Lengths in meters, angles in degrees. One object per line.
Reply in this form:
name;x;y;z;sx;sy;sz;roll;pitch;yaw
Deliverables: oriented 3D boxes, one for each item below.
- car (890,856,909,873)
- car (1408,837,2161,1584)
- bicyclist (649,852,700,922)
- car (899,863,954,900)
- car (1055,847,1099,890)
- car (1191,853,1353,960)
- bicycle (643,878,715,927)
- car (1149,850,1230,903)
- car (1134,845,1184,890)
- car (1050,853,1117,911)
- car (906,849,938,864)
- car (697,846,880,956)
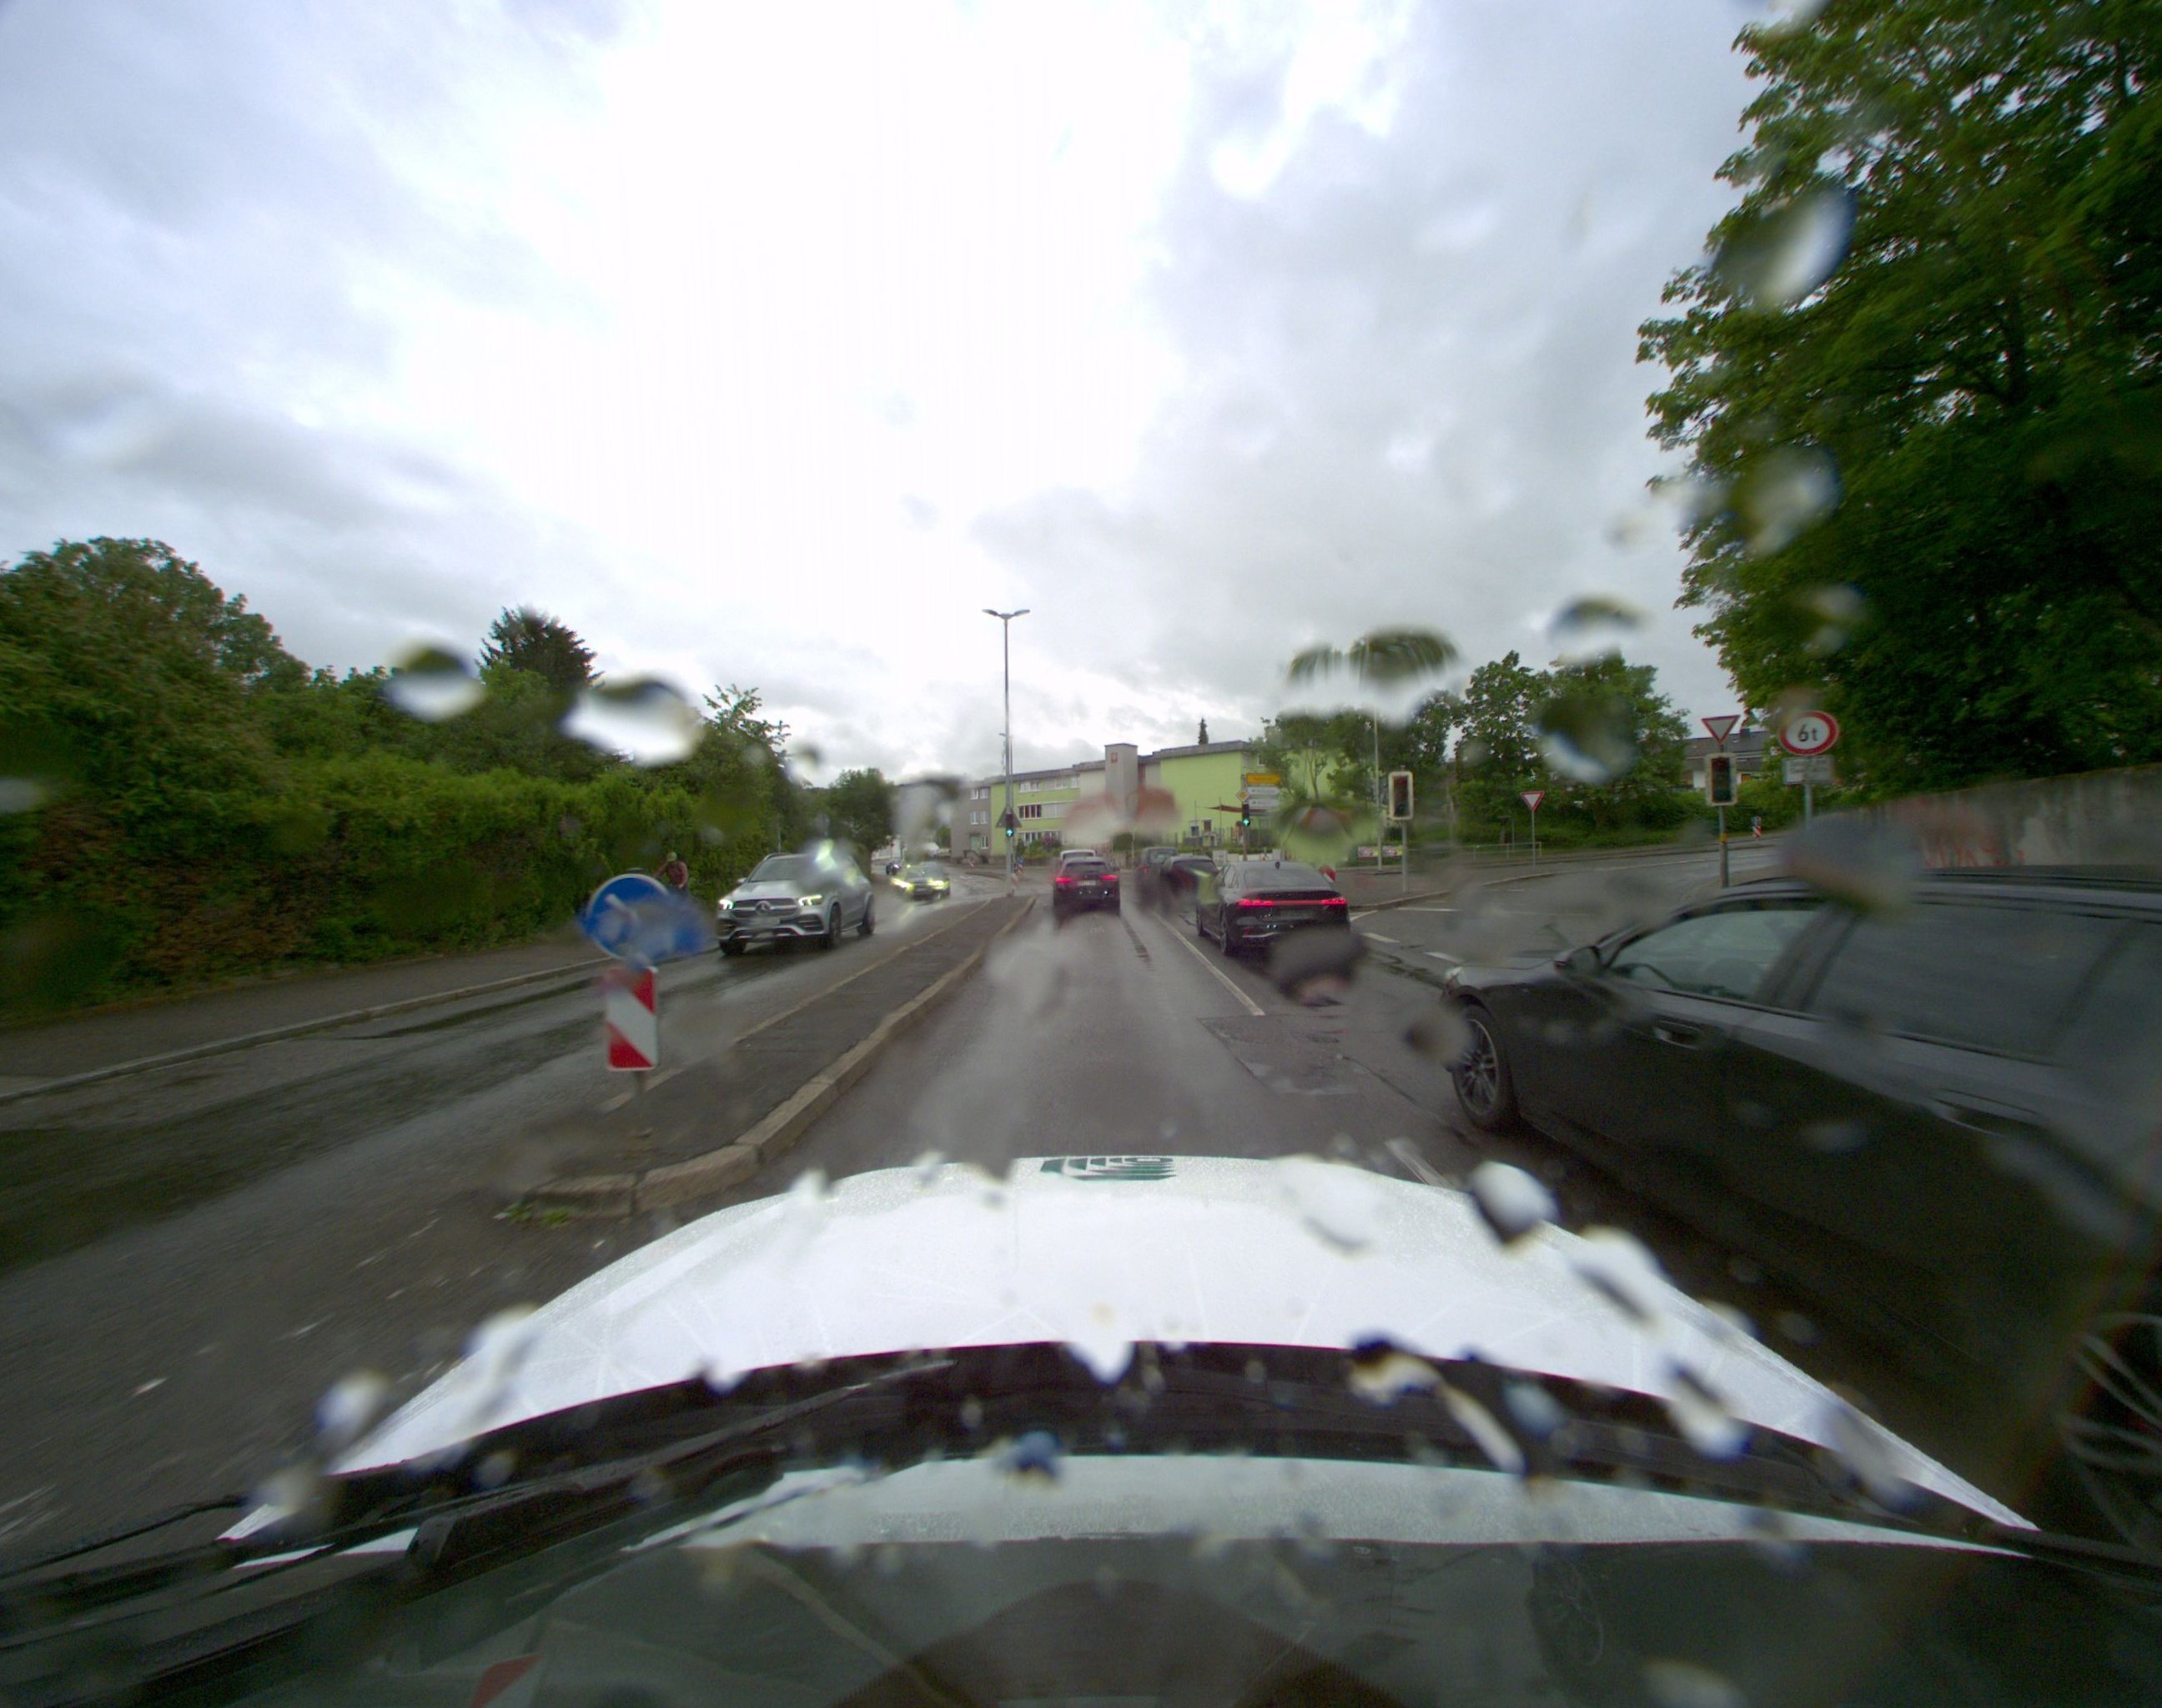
car;-18.542;1.035;83.115;1.852;1.564;3.981;0;1;-14
car;3.100;0.695;2.971;1.899;1.458;4.778;-2;0;0
bicyclist;-9.609;0.774;19.265;0.762;1.612;0.868;0;0;-1
car;-6.725;1.170;35.938;1.734;1.437;4.551;-3;0;-4
car;-0.227;0.606;37.632;1.714;1.844;4.080;0;1;-5
car;2.976;0.739;13.660;1.700;1.427;4.509;-2;0;1
bicycle;-9.610;1.133;19.536;0.745;1.086;1.988;0;-1;-1
car;3.340;0.649;25.808;1.845;1.486;4.084;-2;0;-2
car;3.319;0.530;35.112;1.777;1.734;4.087;-2;0;1
car;-0.001;0.751;23.981;1.679;1.506;3.769;-2;0;-4
car;-22.948;0.353;117.536;4.405;1.772;1.989;-4;0;-17
car;-5.382;0.749;15.705;2.037;1.716;4.476;-3;1;-3
